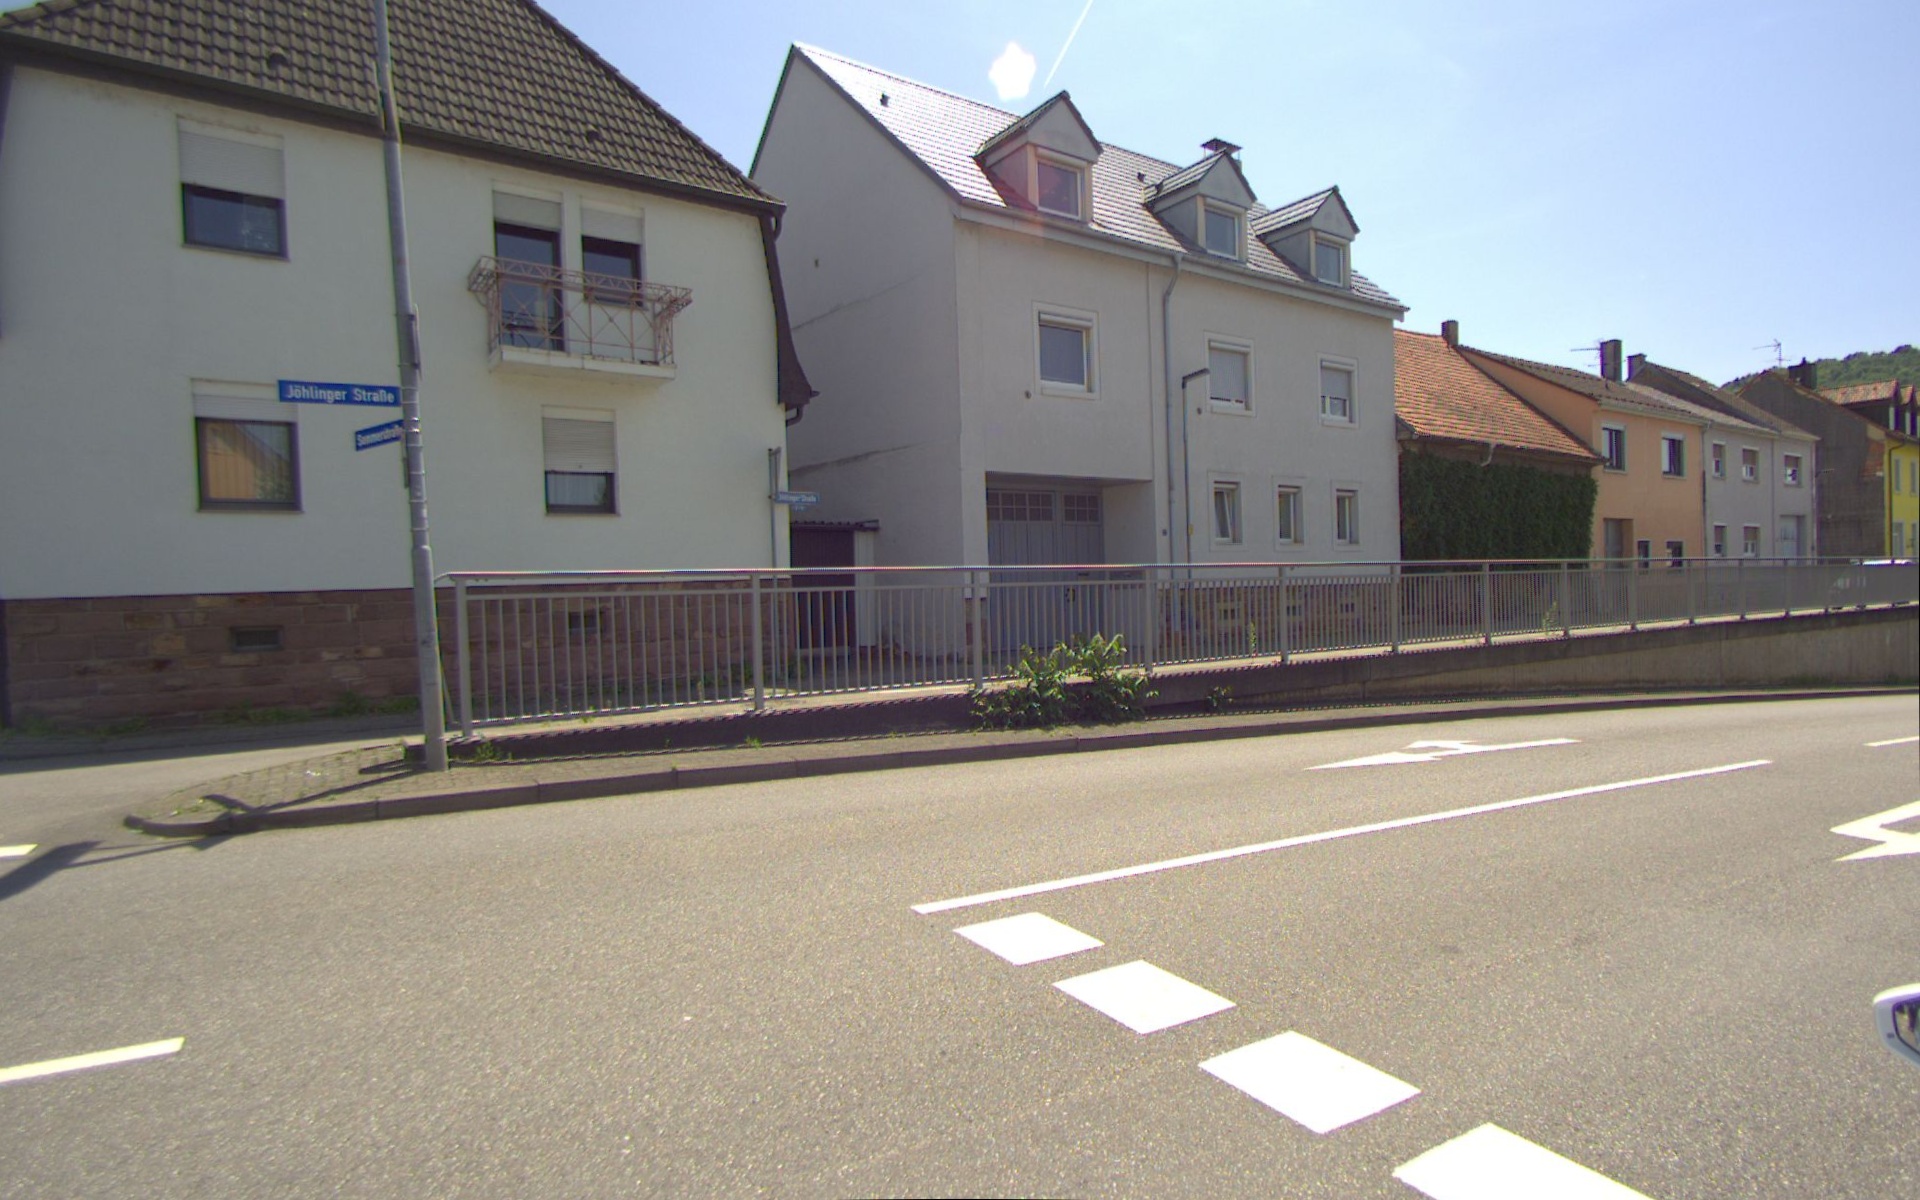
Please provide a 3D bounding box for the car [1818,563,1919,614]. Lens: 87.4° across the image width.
[{"bbox_3d":[28.743,-0.398,31.423,4.264,1.482,1.802,-2,2,-34],"label":"car"}]
